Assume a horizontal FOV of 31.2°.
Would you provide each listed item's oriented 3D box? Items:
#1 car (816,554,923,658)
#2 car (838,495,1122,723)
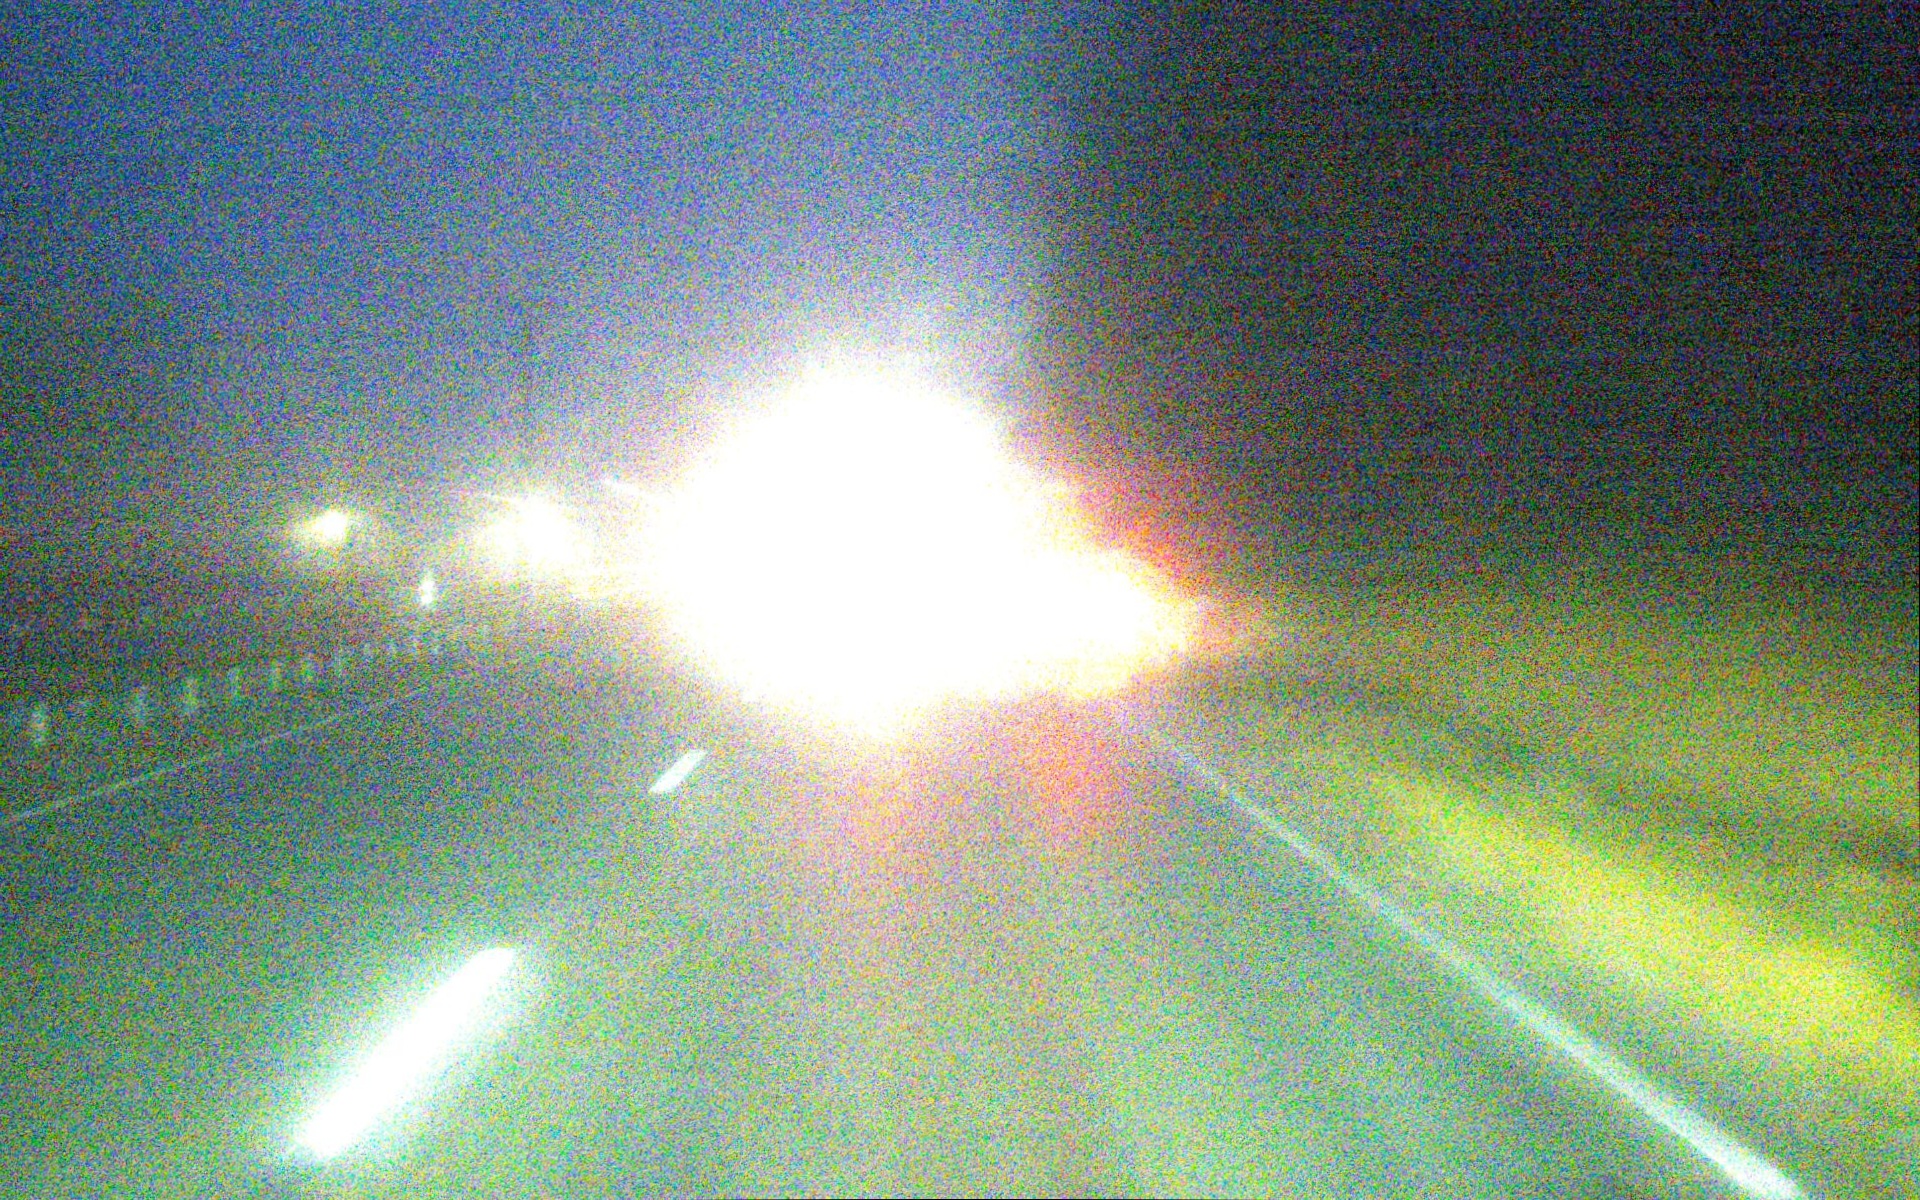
[{"bbox_3d":[-1.892,0.111,70.523,1.993,2.007,4.001,-2,0,-4],"label":"car"},{"bbox_3d":[0.182,0.087,32.708,2.458,1.952,4.911,-1,0,0],"label":"car"}]
